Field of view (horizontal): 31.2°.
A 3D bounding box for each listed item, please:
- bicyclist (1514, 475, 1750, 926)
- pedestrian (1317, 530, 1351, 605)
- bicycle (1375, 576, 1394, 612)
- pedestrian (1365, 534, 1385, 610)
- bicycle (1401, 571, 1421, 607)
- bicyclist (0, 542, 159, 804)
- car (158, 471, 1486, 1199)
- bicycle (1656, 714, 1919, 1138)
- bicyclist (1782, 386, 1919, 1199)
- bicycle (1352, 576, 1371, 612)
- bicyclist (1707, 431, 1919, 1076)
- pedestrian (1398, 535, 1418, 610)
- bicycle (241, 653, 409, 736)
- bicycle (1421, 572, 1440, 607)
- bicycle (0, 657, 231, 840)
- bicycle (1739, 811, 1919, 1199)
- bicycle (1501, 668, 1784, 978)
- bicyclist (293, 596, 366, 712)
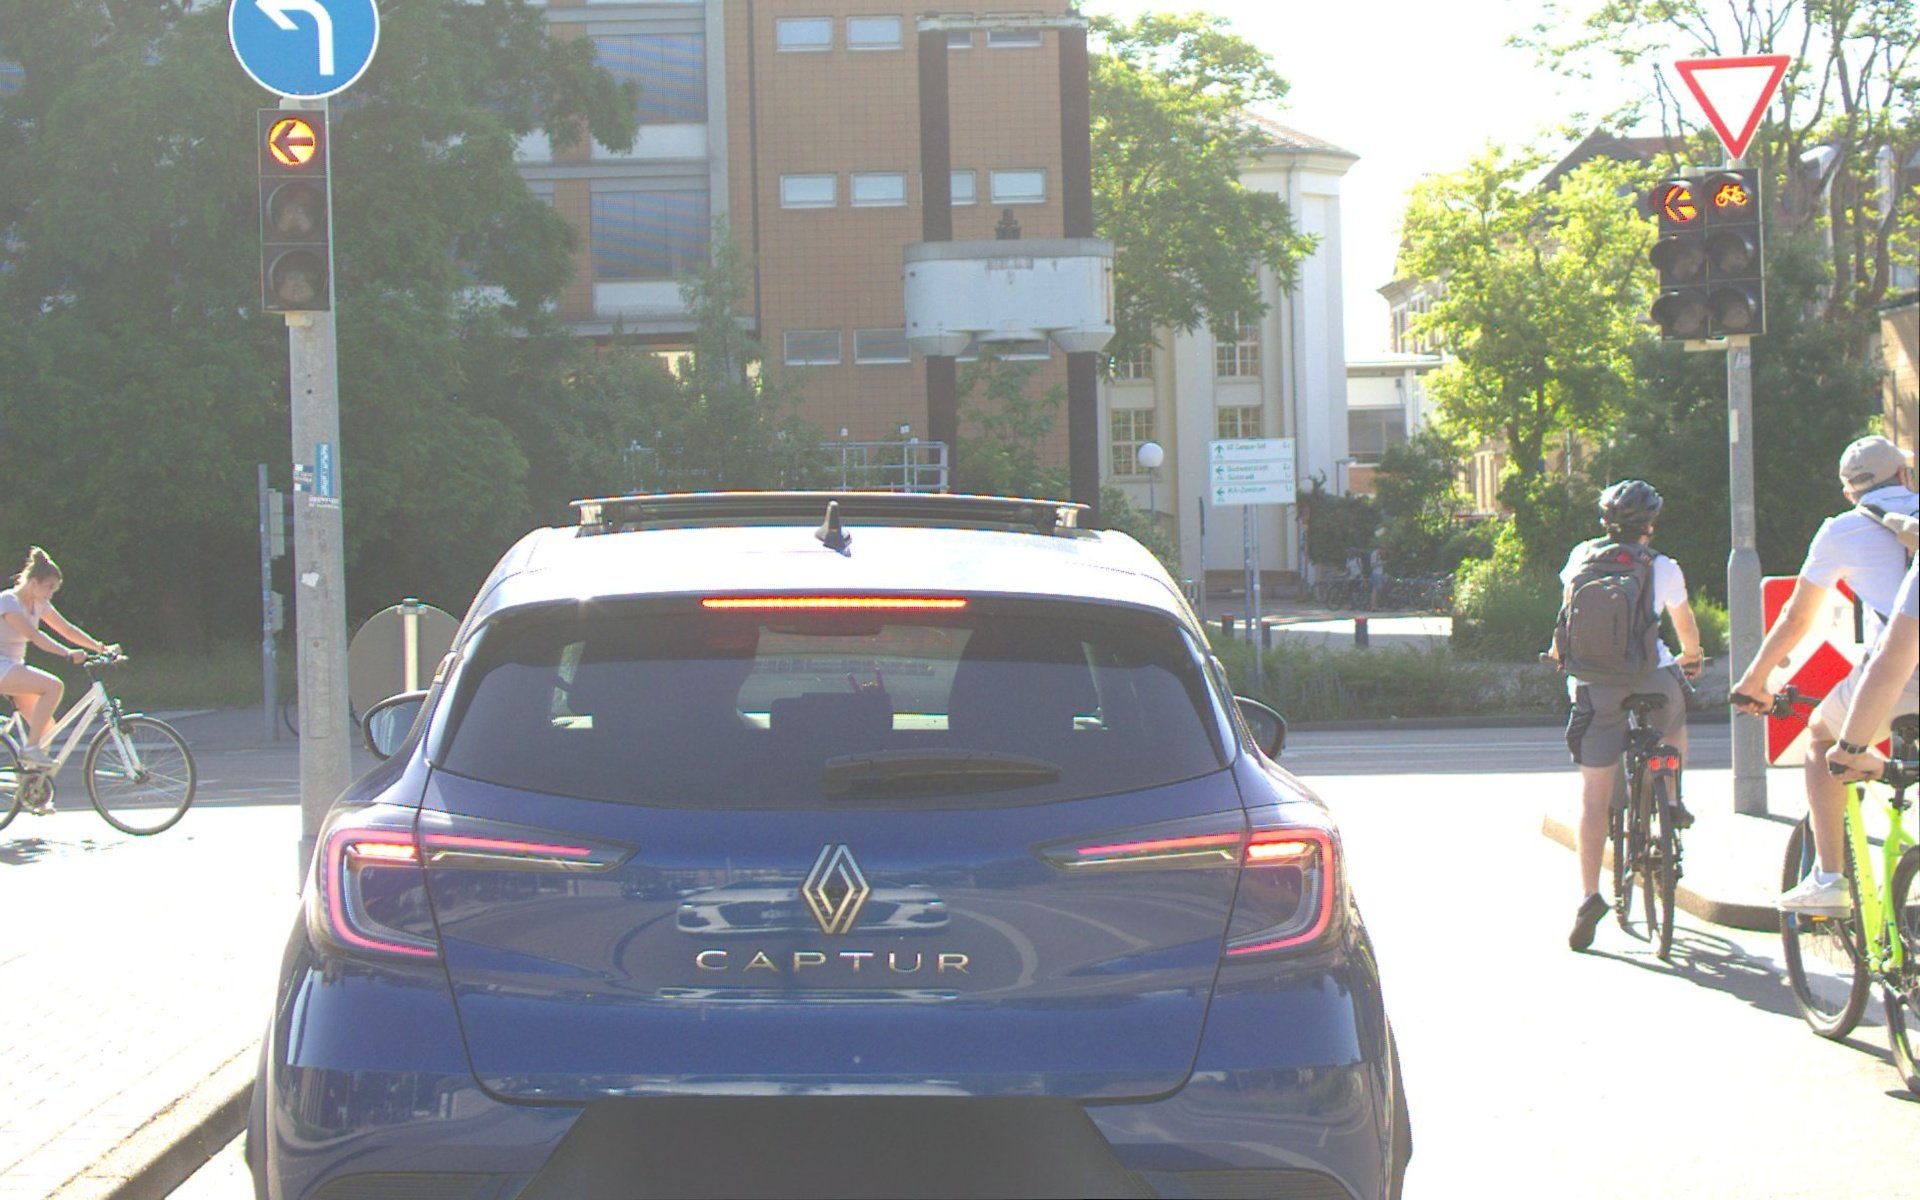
[{"bbox_3d":[2.512,0.360,12.939,0.726,1.623,0.969,1,0,4],"label":"bicyclist"},{"bbox_3d":[10.155,-0.884,93.374,0.859,2.007,0.468,-1,1,6],"label":"pedestrian"},{"bbox_3d":[11.614,-0.163,94.031,0.405,0.969,1.683,1,1,4],"label":"bicycle"},{"bbox_3d":[10.982,-0.746,91.037,0.475,2.007,0.523,-1,1,6],"label":"pedestrian"},{"bbox_3d":[12.382,-0.300,94.397,0.405,0.969,1.683,1,1,4],"label":"bicycle"},{"bbox_3d":[-5.441,0.433,20.379,1.069,1.494,0.741,-3,0,12],"label":"bicyclist"},{"bbox_3d":[-0.264,0.619,6.690,1.803,1.626,4.000,0,1,-2],"label":"car"},{"bbox_3d":[2.616,0.870,9.815,0.659,0.999,1.970,1,1,-6],"label":"bicycle"},{"bbox_3d":[2.236,0.413,7.239,0.751,1.663,1.016,1,0,1],"label":"bicyclist"},{"bbox_3d":[10.992,-0.172,94.074,0.405,0.969,1.683,1,1,4],"label":"bicycle"},{"bbox_3d":[2.627,0.411,9.804,0.645,1.733,1.067,1,0,-6],"label":"bicyclist"},{"bbox_3d":[12.039,-0.745,92.388,0.475,2.007,0.468,-1,1,6],"label":"pedestrian"},{"bbox_3d":[-8.078,1.194,43.763,2.005,0.961,0.598,-2,1,-27],"label":"bicycle"},{"bbox_3d":[12.918,-0.292,94.410,0.405,0.969,1.683,1,1,4],"label":"bicycle"},{"bbox_3d":[-5.424,0.889,20.365,1.985,0.992,0.741,-3,0,12],"label":"bicycle"},{"bbox_3d":[2.232,0.967,7.250,0.740,0.893,1.978,1,1,1],"label":"bicycle"},{"bbox_3d":[2.515,0.786,12.895,0.739,0.992,2.173,1,1,3],"label":"bicycle"},{"bbox_3d":[-8.031,0.681,43.780,0.737,1.436,0.598,-2,1,-27],"label":"bicyclist"}]
